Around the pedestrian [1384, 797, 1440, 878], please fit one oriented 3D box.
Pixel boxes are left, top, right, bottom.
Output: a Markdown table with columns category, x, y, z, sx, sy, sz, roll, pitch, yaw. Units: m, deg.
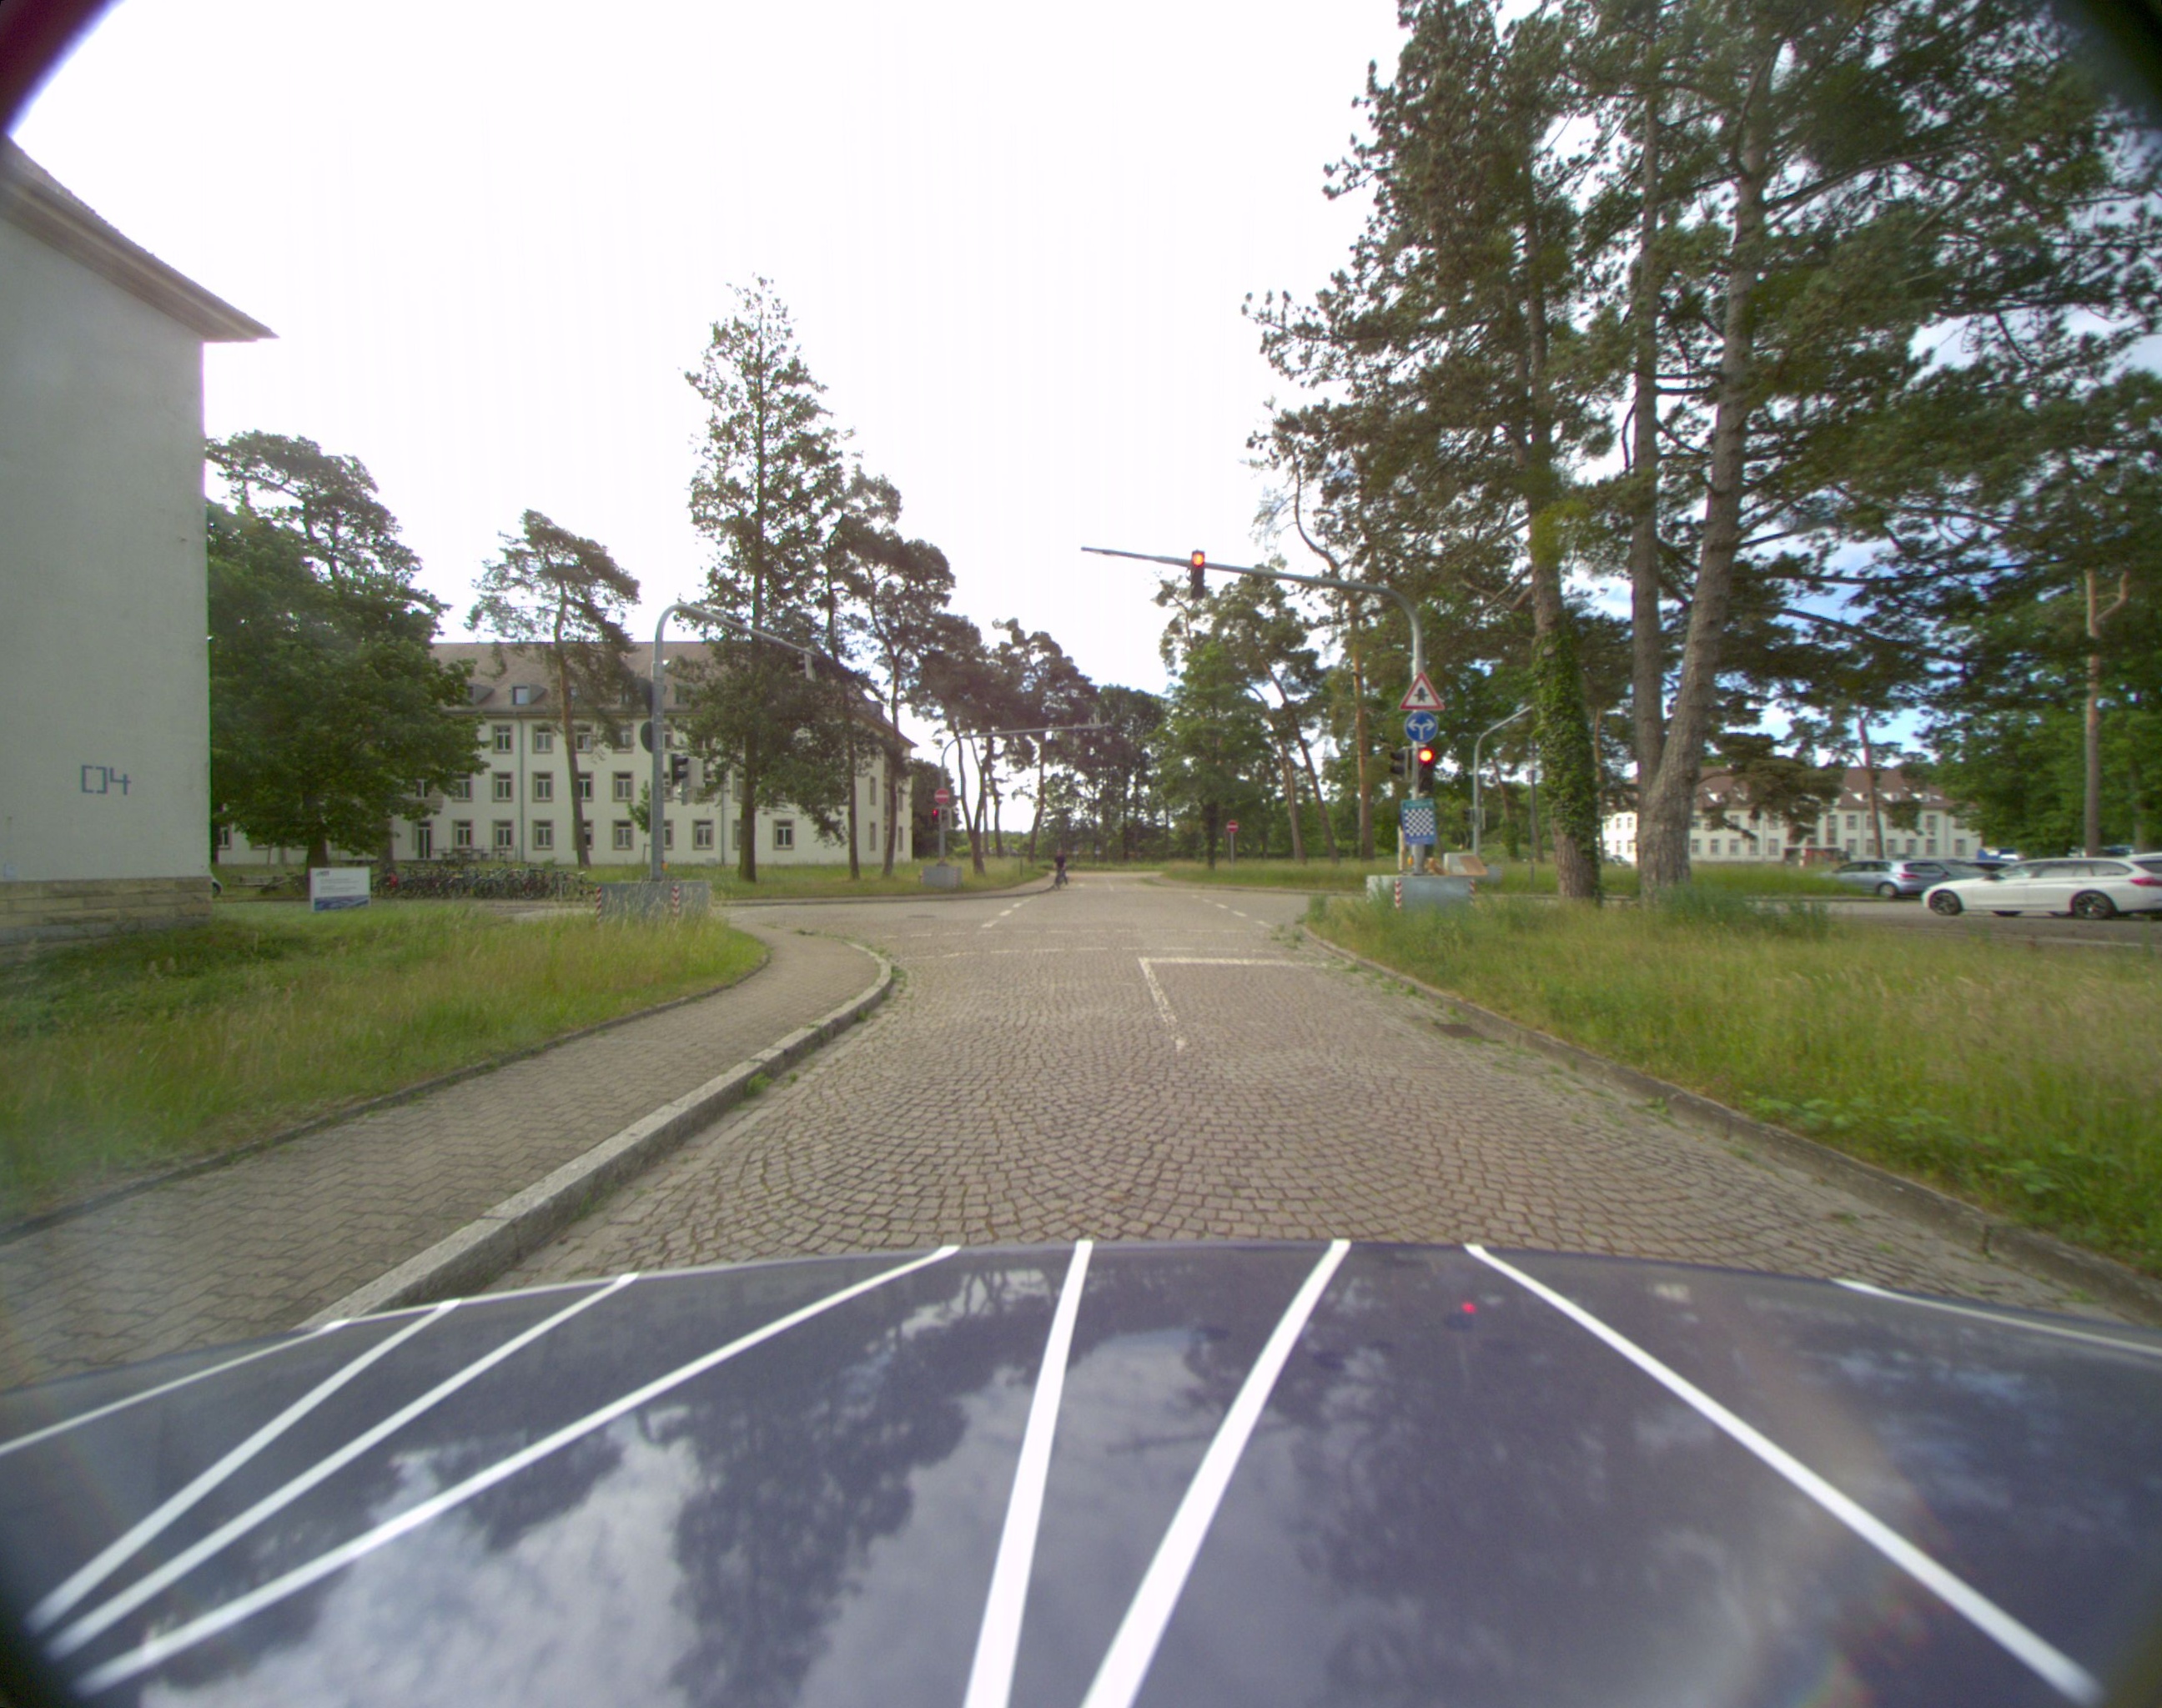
| category | x | y | z | sx | sy | sz | roll | pitch | yaw |
| --- | --- | --- | --- | --- | --- | --- | --- | --- | --- |
| pedestrian | 6.381 | -0.303 | 14.686 | 0.882 | 1.509 | 0.822 | 0 | 1 | 15 |

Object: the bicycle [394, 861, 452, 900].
| category | x | y | z | sx | sy | sz | roll | pitch | yaw |
| --- | --- | --- | --- | --- | --- | --- | --- | --- | --- |
| bicycle | -23.325 | 0.918 | 26.980 | 0.572 | 1.324 | 1.837 | 0 | 0 | -4 |

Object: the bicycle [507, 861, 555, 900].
| category | x | y | z | sx | sy | sz | roll | pitch | yaw |
| --- | --- | --- | --- | --- | --- | --- | --- | --- | --- |
| bicycle | -19.378 | 0.907 | 26.806 | 0.482 | 1.324 | 1.837 | 0 | 0 | -4 |

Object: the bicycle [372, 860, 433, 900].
| category | x | y | z | sx | sy | sz | roll | pitch | yaw |
| --- | --- | --- | --- | --- | --- | --- | --- | --- | --- |
| bicycle | -23.923 | 0.897 | 26.839 | 0.572 | 1.324 | 1.837 | 0 | 0 | -4 |

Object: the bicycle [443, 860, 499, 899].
| category | x | y | z | sx | sy | sz | roll | pitch | yaw |
| --- | --- | --- | --- | --- | --- | --- | --- | --- | --- |
| bicycle | -21.432 | 0.876 | 26.727 | 0.572 | 1.324 | 1.837 | 0 | 0 | -4 |

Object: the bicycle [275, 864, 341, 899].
| category | x | y | z | sx | sy | sz | roll | pitch | yaw |
| --- | --- | --- | --- | --- | --- | --- | --- | --- | --- |
| bicycle | -27.761 | 0.959 | 27.326 | 0.572 | 1.180 | 1.837 | 0 | 0 | -5 |

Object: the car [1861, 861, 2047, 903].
| category | x | y | z | sx | sy | sz | roll | pitch | yaw |
| --- | --- | --- | --- | --- | --- | --- | --- | --- | --- |
| car | 33.311 | 1.053 | 29.241 | 1.840 | 1.512 | 4.585 | 0 | -1 | -1 |

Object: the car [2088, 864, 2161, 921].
| category | x | y | z | sx | sy | sz | roll | pitch | yaw |
| --- | --- | --- | --- | --- | --- | --- | --- | --- | --- |
| car | 28.667 | 0.976 | 18.657 | 1.839 | 1.460 | 4.586 | 0 | -1 | 1 |

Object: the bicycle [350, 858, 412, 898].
| category | x | y | z | sx | sy | sz | roll | pitch | yaw |
| --- | --- | --- | --- | --- | --- | --- | --- | --- | --- |
| bicycle | -24.635 | 0.819 | 26.777 | 0.572 | 1.324 | 1.837 | 0 | 0 | -4 |

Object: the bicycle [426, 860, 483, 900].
| category | x | y | z | sx | sy | sz | roll | pitch | yaw |
| --- | --- | --- | --- | --- | --- | --- | --- | --- | --- |
| bicycle | -21.997 | 0.889 | 26.708 | 0.572 | 1.324 | 1.837 | 0 | 0 | -4 |

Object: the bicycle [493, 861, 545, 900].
| category | x | y | z | sx | sy | sz | roll | pitch | yaw |
| --- | --- | --- | --- | --- | --- | --- | --- | --- | --- |
| bicycle | -19.811 | 0.917 | 26.823 | 0.572 | 1.324 | 1.837 | 0 | 0 | -4 |

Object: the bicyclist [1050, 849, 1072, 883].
| category | x | y | z | sx | sy | sz | roll | pitch | yaw |
| --- | --- | --- | --- | --- | --- | --- | --- | --- | --- |
| bicyclist | -0.956 | 0.567 | 36.392 | 0.963 | 1.626 | 0.918 | 0 | 1 | 3 |

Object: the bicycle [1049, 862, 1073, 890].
| category | x | y | z | sx | sy | sz | roll | pitch | yaw |
| --- | --- | --- | --- | --- | --- | --- | --- | --- | --- |
| bicycle | -0.931 | 1.044 | 36.433 | 0.963 | 1.268 | 2.164 | 0 | 0 | 3 |

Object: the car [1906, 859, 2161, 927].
| category | x | y | z | sx | sy | sz | roll | pitch | yaw |
| --- | --- | --- | --- | --- | --- | --- | --- | --- | --- |
| car | 23.401 | 0.887 | 18.338 | 1.840 | 1.441 | 4.656 | 0 | -1 | -1 |

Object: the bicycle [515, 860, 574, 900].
| category | x | y | z | sx | sy | sz | roll | pitch | yaw |
| --- | --- | --- | --- | --- | --- | --- | --- | --- | --- |
| bicycle | -18.883 | 0.896 | 26.775 | 0.572 | 1.324 | 1.839 | 0 | 0 | 9 |

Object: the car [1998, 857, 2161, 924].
| category | x | y | z | sx | sy | sz | roll | pitch | yaw |
| --- | --- | --- | --- | --- | --- | --- | --- | --- | --- |
| car | 26.014 | 0.867 | 18.482 | 1.840 | 1.568 | 4.585 | 0 | -1 | -1 |

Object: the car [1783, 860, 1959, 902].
| category | x | y | z | sx | sy | sz | roll | pitch | yaw |
| --- | --- | --- | --- | --- | --- | --- | --- | --- | --- |
| car | 30.594 | 1.031 | 29.682 | 1.841 | 1.538 | 4.583 | 0 | -1 | -7 |

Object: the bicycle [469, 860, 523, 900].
| category | x | y | z | sx | sy | sz | roll | pitch | yaw |
| --- | --- | --- | --- | --- | --- | --- | --- | --- | --- |
| bicycle | -20.577 | 0.883 | 26.770 | 0.572 | 1.324 | 1.837 | 0 | 0 | -4 |

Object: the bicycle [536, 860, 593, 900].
| category | x | y | z | sx | sy | sz | roll | pitch | yaw |
| --- | --- | --- | --- | --- | --- | --- | --- | --- | --- |
| bicycle | -18.252 | 0.893 | 26.893 | 0.572 | 1.324 | 1.839 | 0 | 0 | 9 |

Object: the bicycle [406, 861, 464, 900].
| category | x | y | z | sx | sy | sz | roll | pitch | yaw |
| --- | --- | --- | --- | --- | --- | --- | --- | --- | --- |
| bicycle | -22.719 | 0.906 | 26.770 | 0.572 | 1.324 | 1.837 | 0 | 0 | -4 |

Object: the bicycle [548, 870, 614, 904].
| category | x | y | z | sx | sy | sz | roll | pitch | yaw |
| --- | --- | --- | --- | --- | --- | --- | --- | --- | --- |
| bicycle | -16.581 | 1.085 | 25.206 | 1.836 | 1.079 | 0.573 | 0 | 3 | 4 |
